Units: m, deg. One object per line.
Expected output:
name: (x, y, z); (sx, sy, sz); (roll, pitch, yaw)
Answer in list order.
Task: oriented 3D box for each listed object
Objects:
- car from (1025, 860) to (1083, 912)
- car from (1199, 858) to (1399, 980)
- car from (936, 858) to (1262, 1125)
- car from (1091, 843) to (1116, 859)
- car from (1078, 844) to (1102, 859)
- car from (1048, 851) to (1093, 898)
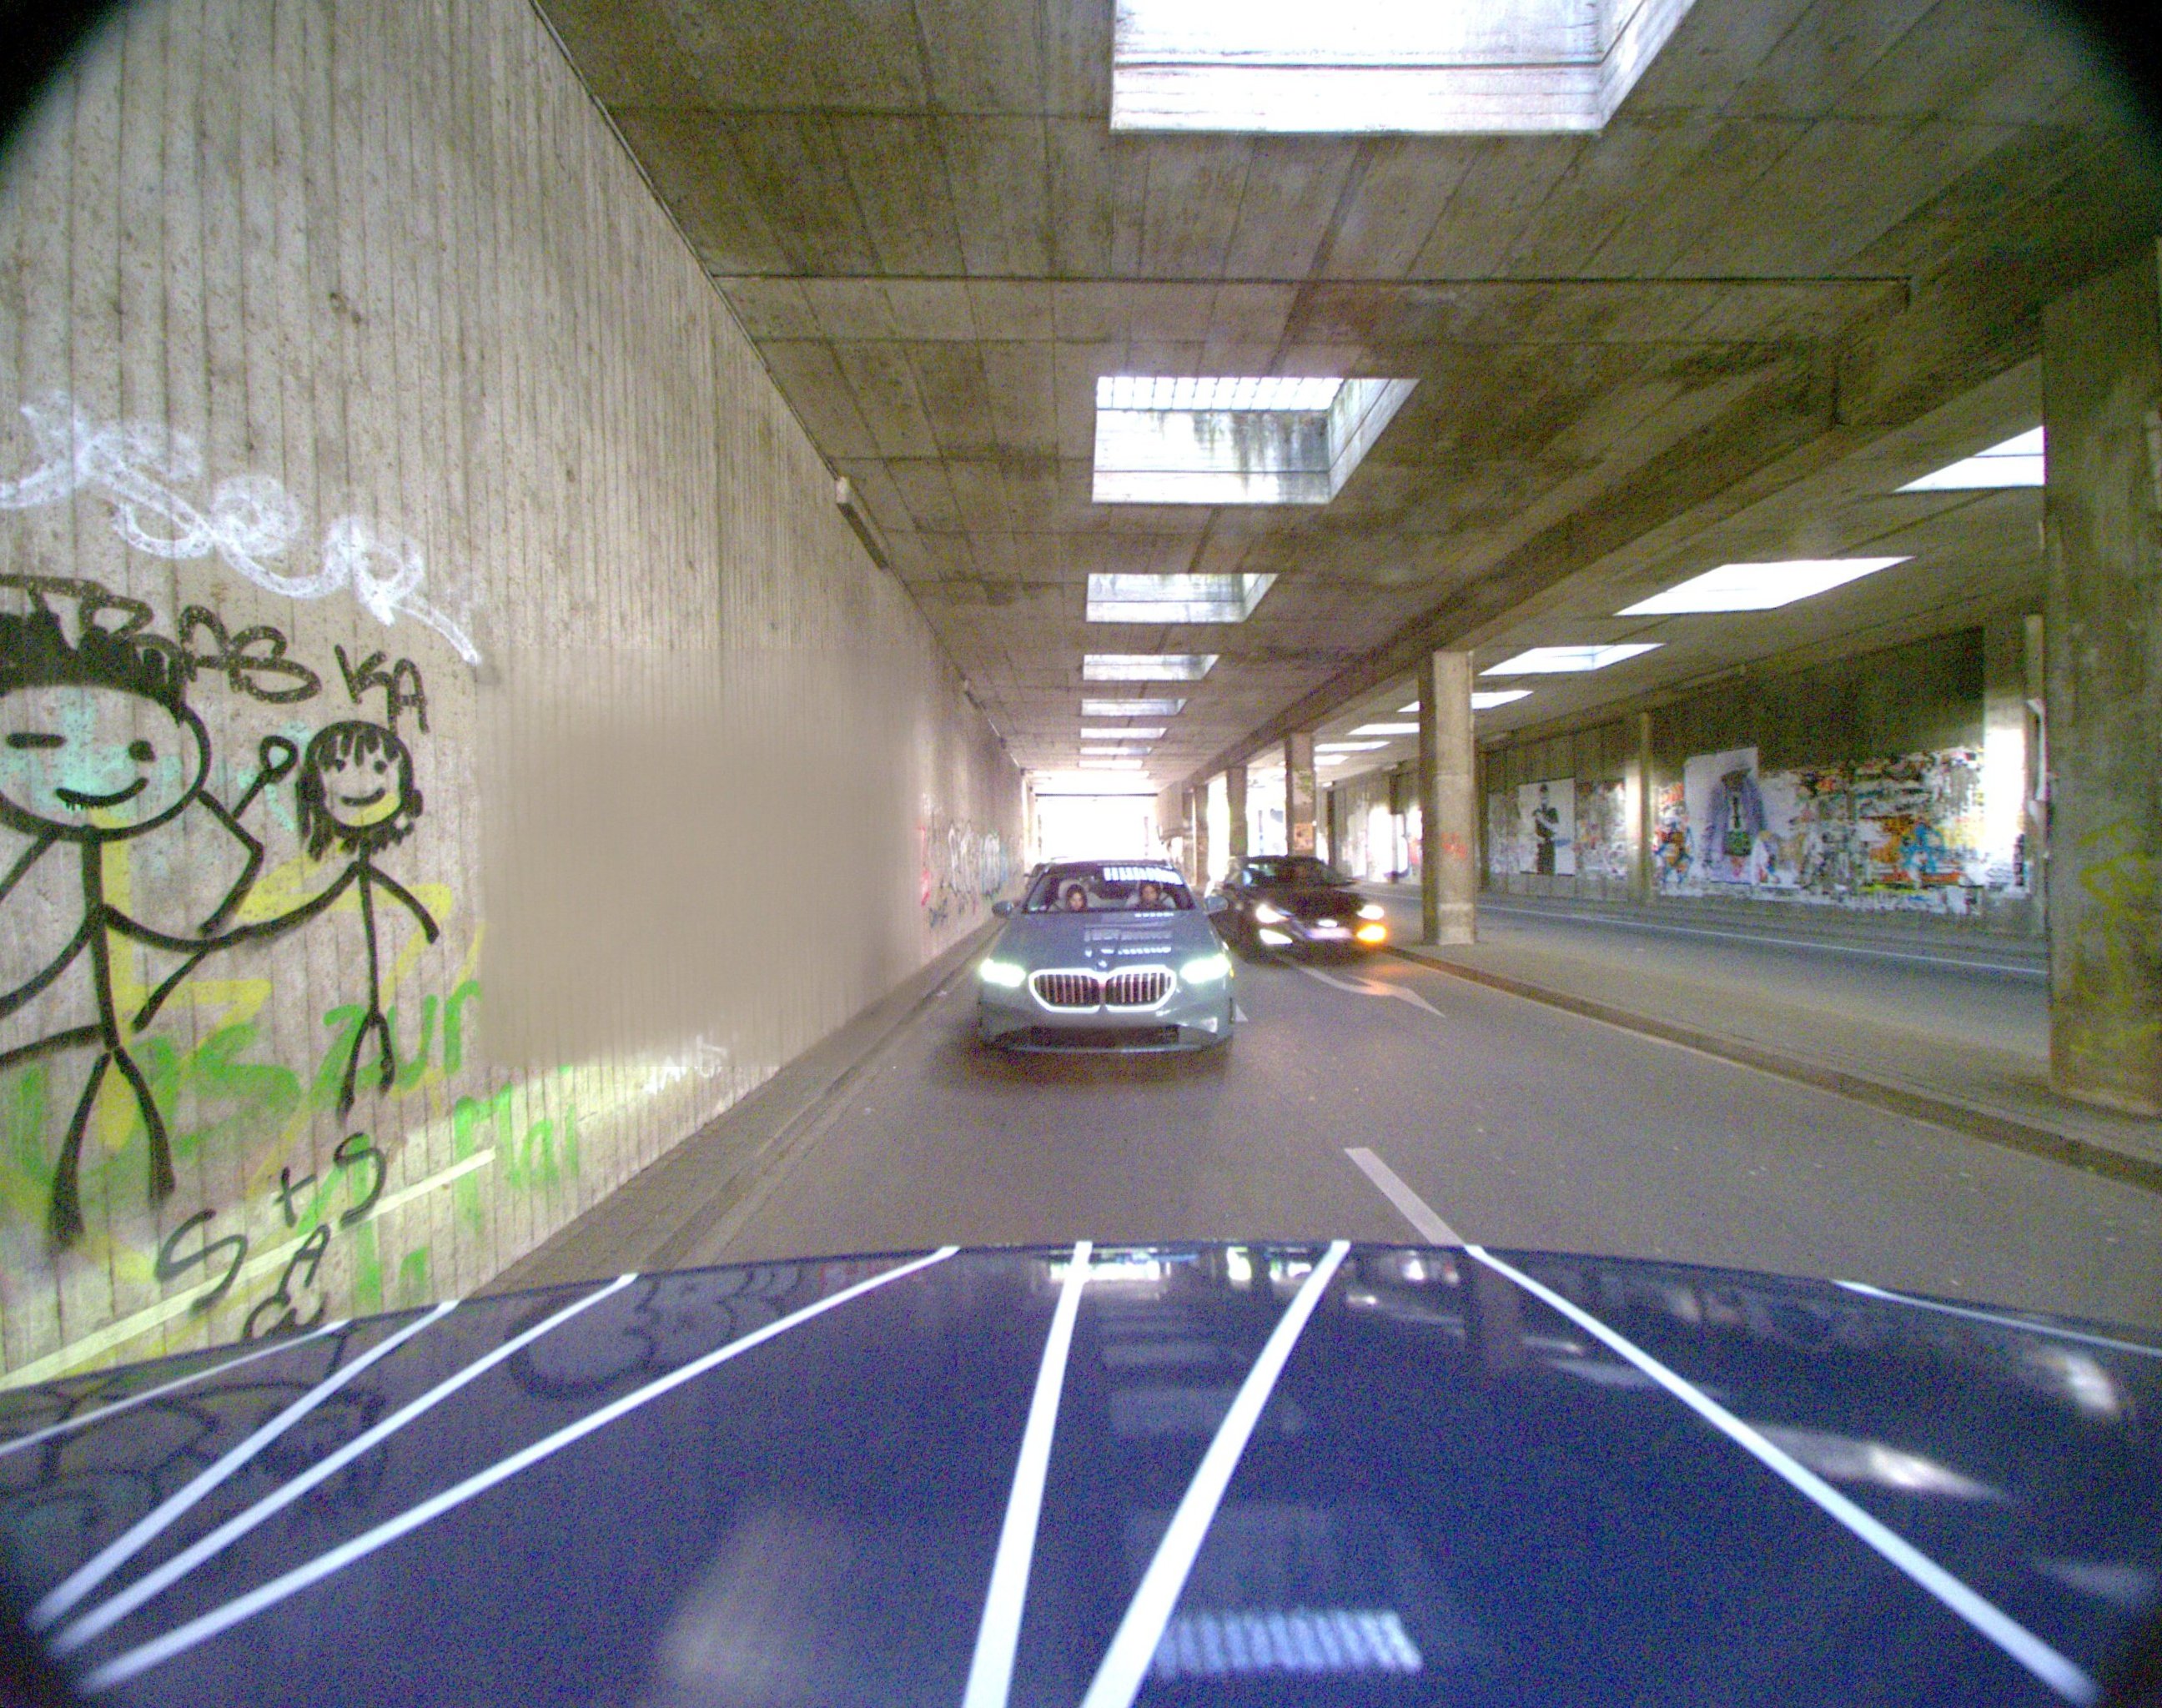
car: (-0.784, 0.940, 23.896); (1.593, 1.387, 3.833); (-2, 0, 1)
car: (3.052, 0.824, 11.595); (1.784, 1.438, 4.178); (-2, 0, 0)
car: (0.192, 0.874, 7.322); (1.998, 1.594, 5.176); (-1, 0, 2)
car: (2.861, -0.364, 97.534); (2.361, 2.002, 5.146); (-1, 0, -8)
car: (1.207, -0.368, 103.546); (2.361, 2.002, 5.146); (-1, 0, -8)
car: (-0.362, 0.756, 29.903); (1.581, 1.676, 4.078); (-2, 0, 1)
